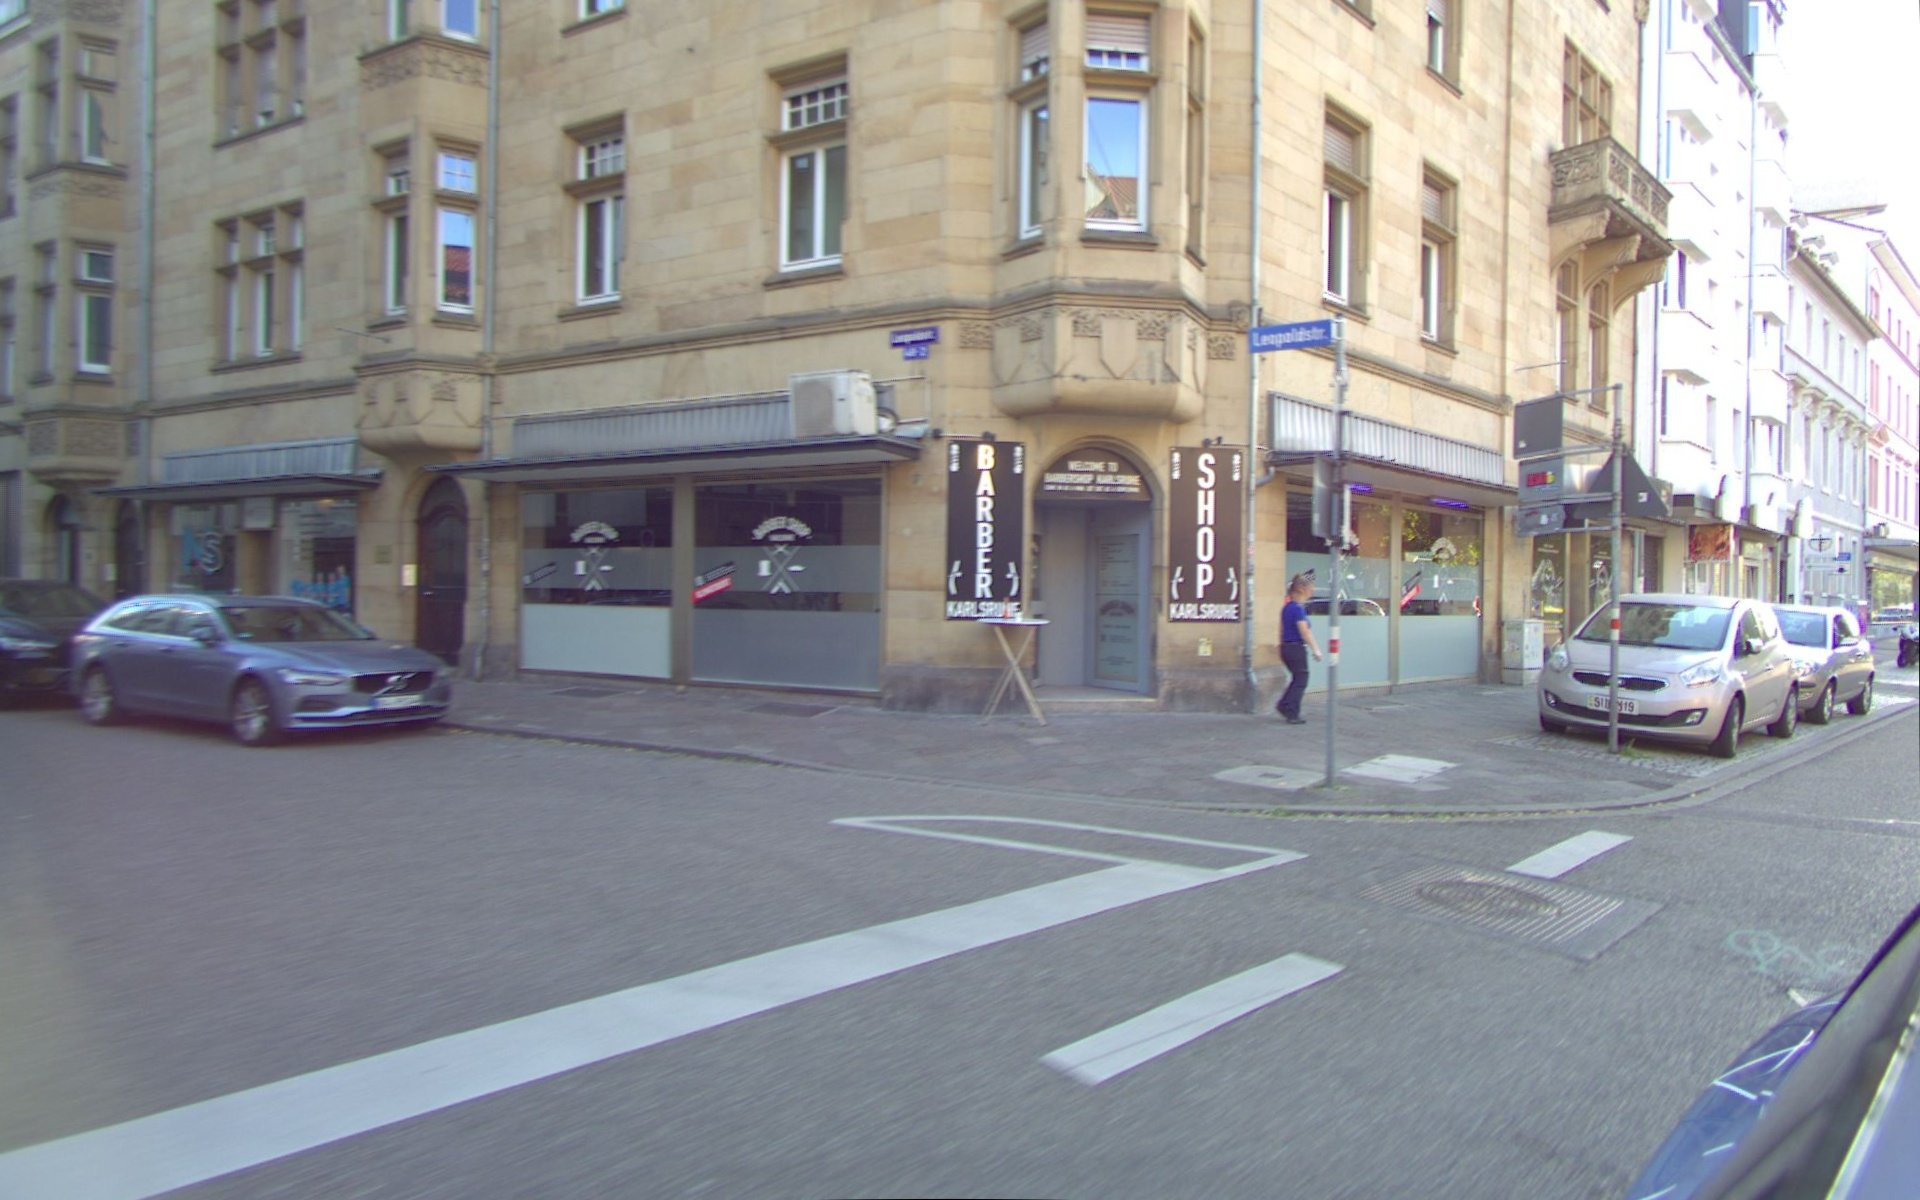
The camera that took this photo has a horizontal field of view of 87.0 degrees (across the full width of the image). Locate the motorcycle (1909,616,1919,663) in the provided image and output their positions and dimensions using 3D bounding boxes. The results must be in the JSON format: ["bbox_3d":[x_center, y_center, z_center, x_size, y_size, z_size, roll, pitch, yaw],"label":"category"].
[{"bbox_3d":[24.508,0.983,25.543,2.171,1.137,0.589,1,-1,-41],"label":"motorcycle"}]

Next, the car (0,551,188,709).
[{"bbox_3d":[-12.654,0.358,13.554,4.379,1.835,1.925,0,-1,26],"label":"car"}]

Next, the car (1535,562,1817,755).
[{"bbox_3d":[8.117,0.546,11.344,3.930,1.792,1.699,1,0,-41],"label":"car"}]

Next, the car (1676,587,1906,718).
[{"bbox_3d":[11.911,0.667,14.426,3.926,1.580,1.685,1,1,-38],"label":"car"}]

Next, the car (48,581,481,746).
[{"bbox_3d":[-7.694,0.590,11.152,4.640,1.507,1.911,0,-1,26],"label":"car"}]

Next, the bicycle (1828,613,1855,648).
[{"bbox_3d":[27.525,0.949,31.626,0.453,1.024,1.691,-1,0,35],"label":"bicycle"}]

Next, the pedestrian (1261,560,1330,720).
[{"bbox_3d":[3.666,0.421,11.057,0.415,1.688,0.586,1,-1,-39],"label":"pedestrian"}]

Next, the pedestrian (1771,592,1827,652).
[{"bbox_3d":[21.673,0.566,26.149,0.975,1.506,0.957,1,-1,-40],"label":"pedestrian"}]

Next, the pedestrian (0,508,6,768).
[{"bbox_3d":[-4.502,0.500,3.851,1.201,1.790,0.756,1,-1,-41],"label":"pedestrian"}]
